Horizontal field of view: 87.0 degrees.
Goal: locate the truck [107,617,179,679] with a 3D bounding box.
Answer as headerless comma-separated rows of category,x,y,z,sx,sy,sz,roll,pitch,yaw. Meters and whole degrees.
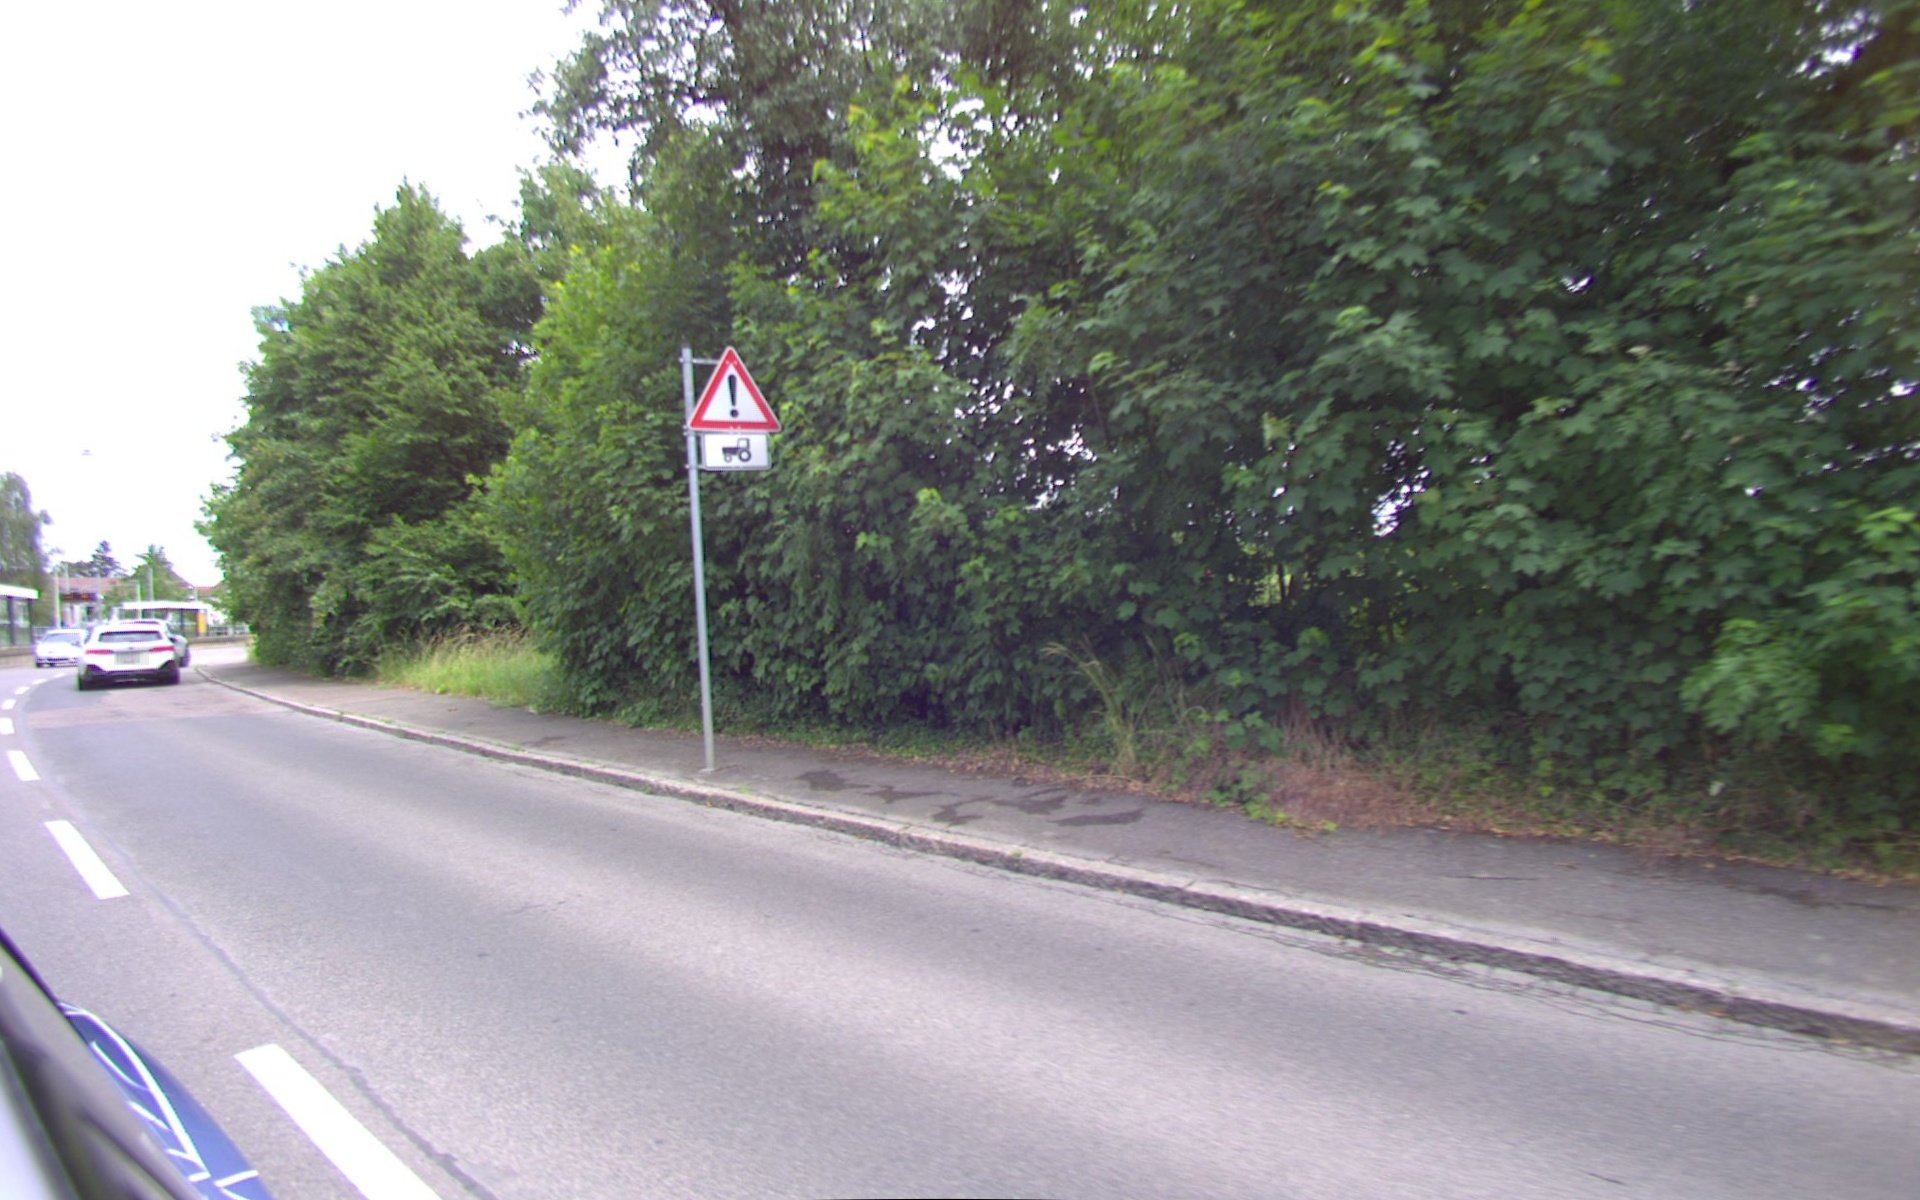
truck,-29.305,1.671,36.249,1.825,1.981,4.966,-2,0,-41

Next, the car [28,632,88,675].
car,-39.550,2.324,44.446,1.708,1.661,4.233,-3,0,-39

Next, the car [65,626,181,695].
car,-20.693,1.420,24.950,1.907,1.533,4.663,1,-2,-43
